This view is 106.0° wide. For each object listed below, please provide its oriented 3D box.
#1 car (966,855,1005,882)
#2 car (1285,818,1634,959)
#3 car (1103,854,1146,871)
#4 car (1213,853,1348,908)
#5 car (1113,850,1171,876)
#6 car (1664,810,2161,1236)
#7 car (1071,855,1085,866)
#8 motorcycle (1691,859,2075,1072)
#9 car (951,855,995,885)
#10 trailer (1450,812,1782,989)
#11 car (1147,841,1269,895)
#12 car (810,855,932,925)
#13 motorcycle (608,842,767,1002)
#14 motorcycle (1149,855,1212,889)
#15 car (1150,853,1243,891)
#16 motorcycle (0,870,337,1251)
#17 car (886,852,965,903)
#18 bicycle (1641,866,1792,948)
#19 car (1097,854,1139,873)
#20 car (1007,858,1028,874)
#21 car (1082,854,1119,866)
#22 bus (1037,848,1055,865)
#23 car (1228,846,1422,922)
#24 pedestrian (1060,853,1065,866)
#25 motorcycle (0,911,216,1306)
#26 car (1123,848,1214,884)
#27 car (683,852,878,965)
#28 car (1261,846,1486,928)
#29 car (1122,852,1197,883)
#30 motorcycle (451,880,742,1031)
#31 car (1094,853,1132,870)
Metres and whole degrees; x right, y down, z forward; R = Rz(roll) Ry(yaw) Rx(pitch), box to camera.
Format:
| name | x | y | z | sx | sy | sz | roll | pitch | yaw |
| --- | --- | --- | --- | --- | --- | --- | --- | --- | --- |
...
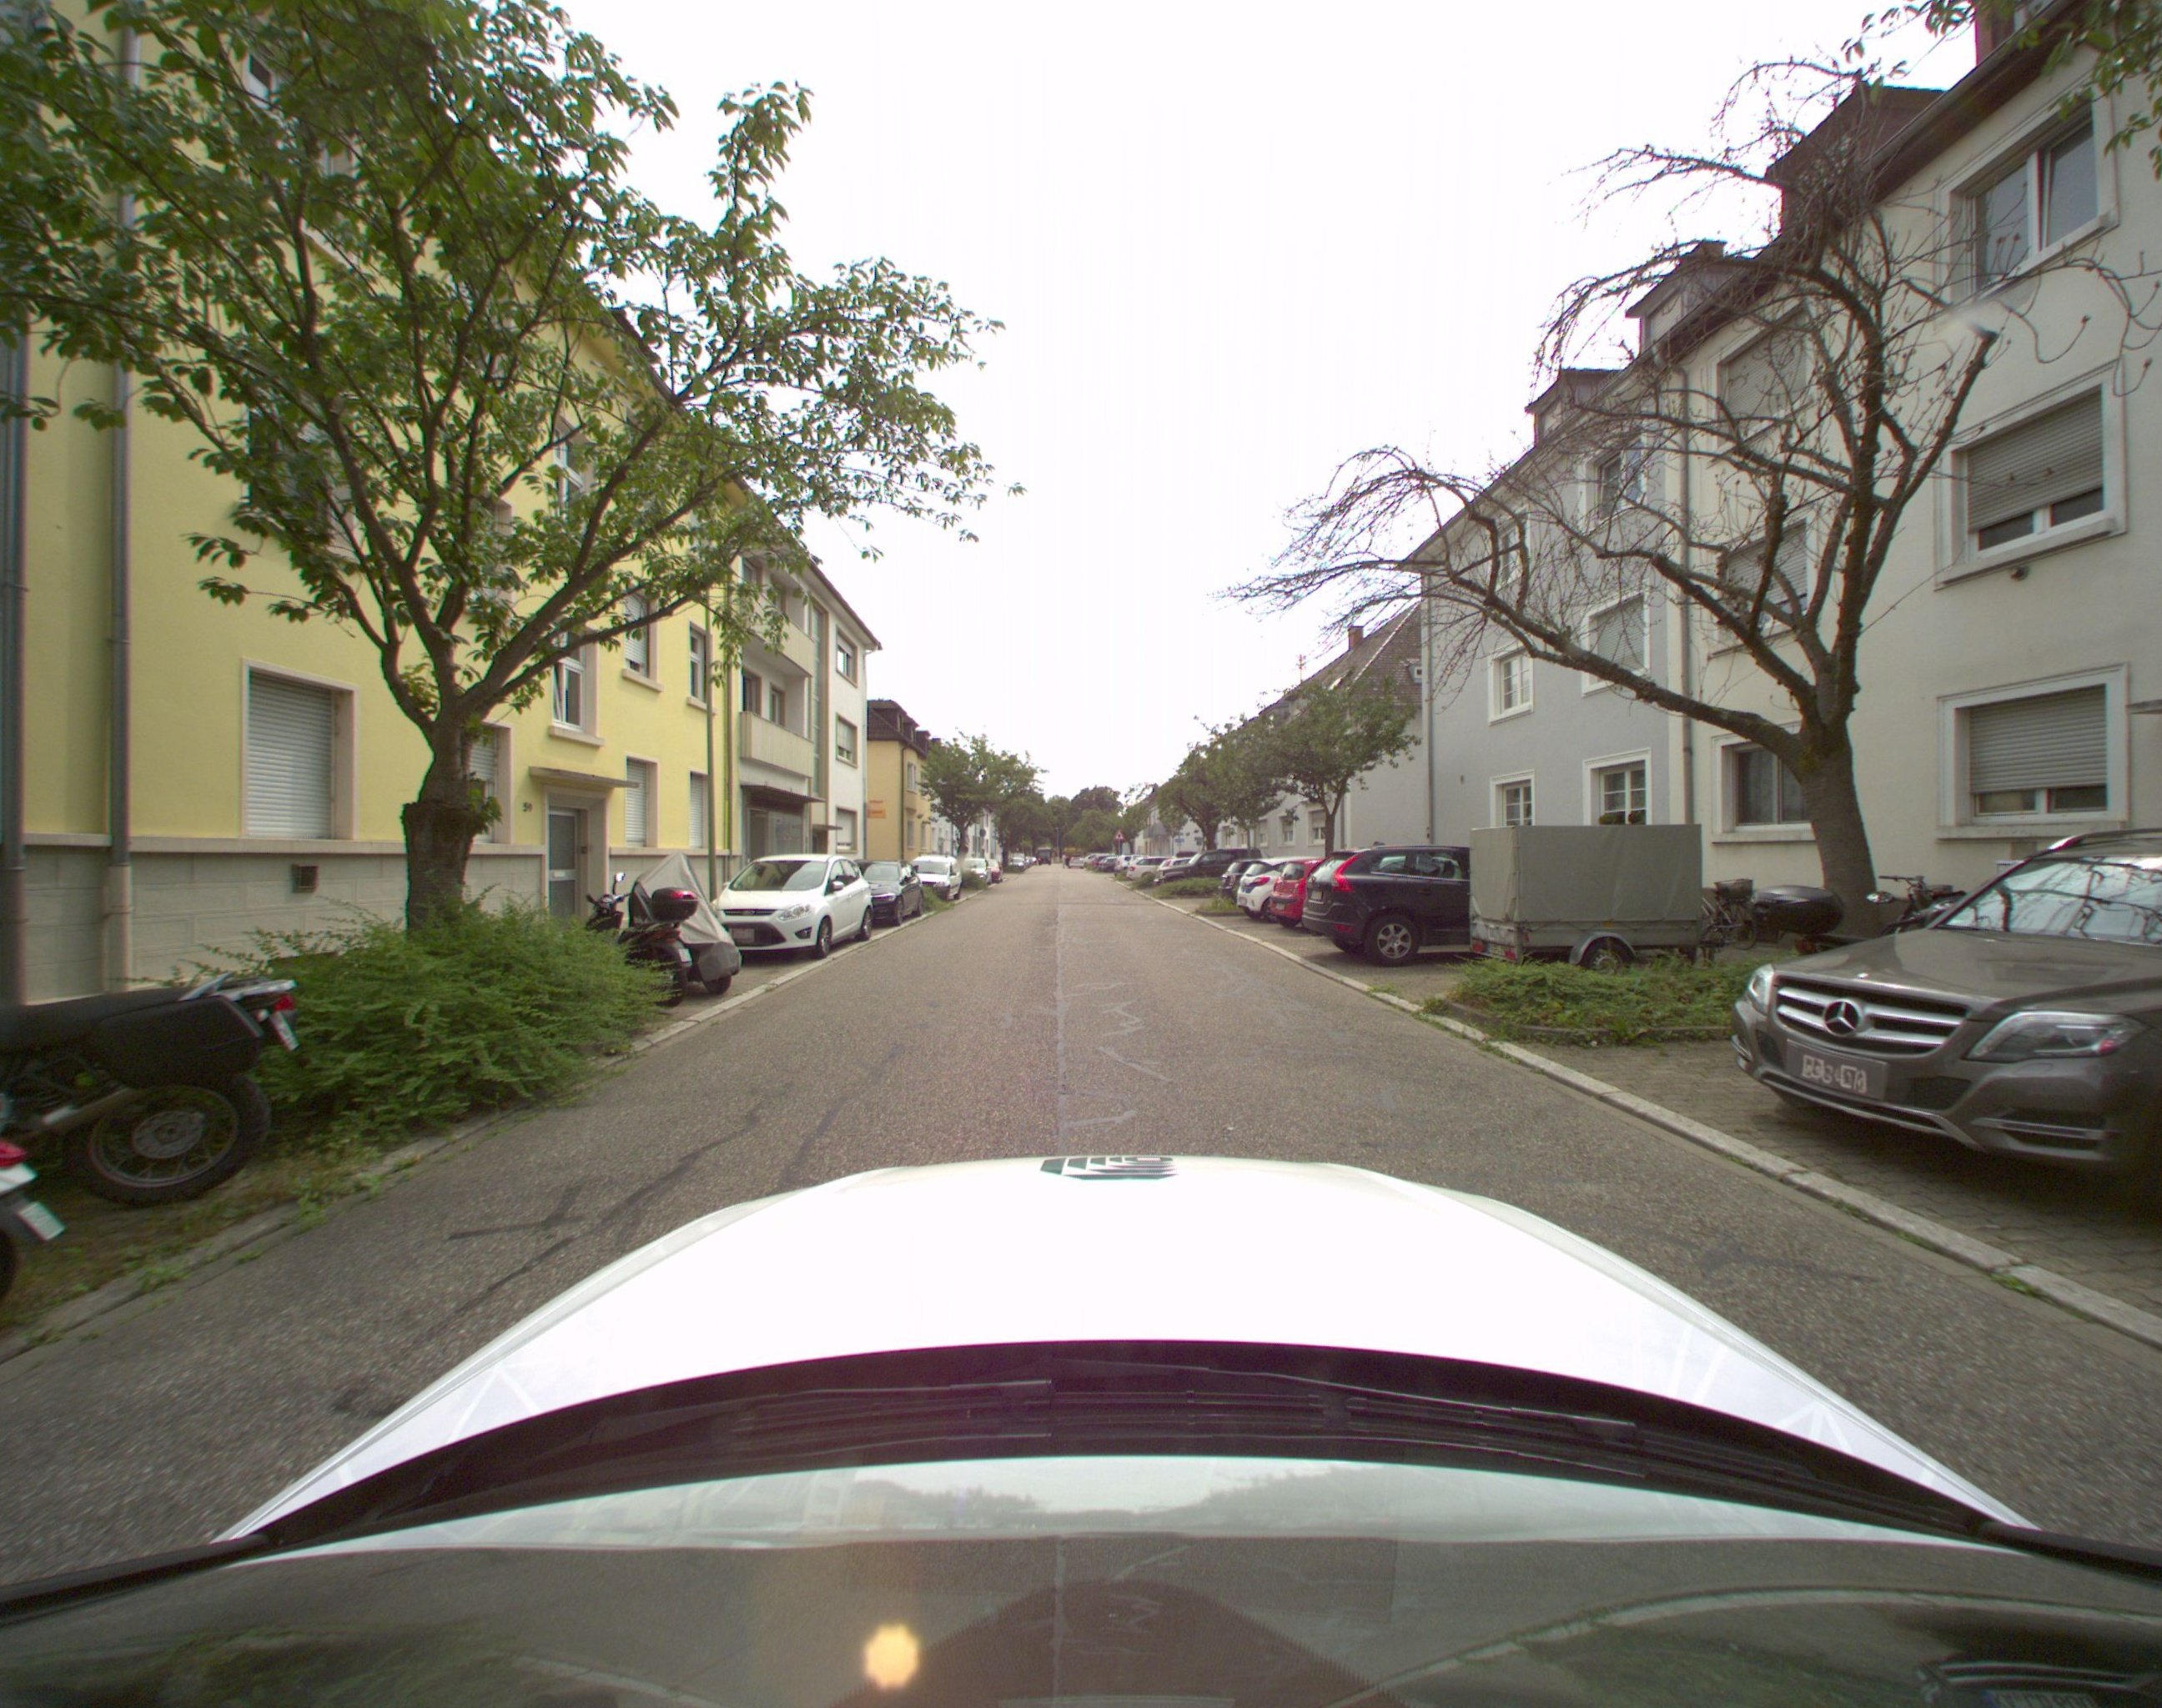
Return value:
| name | x | y | z | sx | sy | sz | roll | pitch | yaw |
| --- | --- | --- | --- | --- | --- | --- | --- | --- | --- |
| car | -5.699 | 0.861 | 49.040 | 1.872 | 1.486 | 4.509 | -2 | 0 | -2 |
| car | 5.362 | 0.472 | 11.968 | 4.201 | 1.736 | 1.903 | -2 | 0 | 0 |
| car | 3.881 | 0.786 | 73.105 | 3.737 | 1.365 | 1.772 | -2 | 0 | -1 |
| car | 5.907 | 0.768 | 24.430 | 3.535 | 1.453 | 1.807 | -2 | 0 | -3 |
| car | 4.251 | 0.656 | 57.379 | 3.912 | 1.633 | 1.867 | -2 | 0 | -1 |
| car | 5.764 | 0.568 | 4.213 | 4.207 | 1.598 | 1.901 | -2 | 0 | -5 |
| car | -0.407 | 0.815 | 104.944 | 1.682 | 1.354 | 3.825 | -2 | 0 | -1 |
| motorcycle | 5.790 | 0.754 | 5.945 | 2.221 | 1.409 | 0.714 | -1 | 0 | -5 |
| car | -5.735 | 0.846 | 43.715 | 1.766 | 1.392 | 4.273 | 5 | 0 | -1 |
| trailer | 6.203 | 0.517 | 9.663 | 2.950 | 1.831 | 1.401 | -2 | -1 | 1 |
| car | 4.979 | 0.541 | 32.277 | 4.510 | 1.858 | 1.793 | -2 | 0 | 0 |
| car | -4.920 | 0.805 | 19.775 | 1.785 | 1.492 | 4.809 | 0 | -1 | -1 |
| motorcycle | -4.762 | 0.720 | 9.751 | 2.443 | 1.676 | 0.944 | -1 | 0 | 45 |
| motorcycle | 4.502 | 0.802 | 36.962 | 2.697 | 1.464 | 1.029 | -1 | 0 | -6 |
| car | 4.960 | 0.748 | 35.234 | 3.620 | 1.454 | 1.769 | -2 | 0 | -6 |
| motorcycle | -4.701 | 0.858 | 3.391 | 2.245 | 1.481 | 0.591 | -2 | -1 | -29 |
| car | -5.325 | 0.768 | 28.407 | 1.913 | 1.581 | 4.379 | -2 | 0 | -1 |
| bicycle | 9.617 | 0.756 | 12.442 | 0.684 | 1.097 | 2.005 | -2 | 0 | 0 |
| car | 3.429 | 0.885 | 75.839 | 3.737 | 1.564 | 1.772 | -2 | 0 | -1 |
| car | -6.766 | 1.290 | 87.502 | 1.757 | 1.554 | 3.732 | -2 | 0 | 2 |
| car | 2.678 | 0.815 | 113.385 | 4.965 | 1.518 | 1.766 | -2 | 0 | -4 |
| bus | -6.139 | 0.520 | 144.699 | 2.996 | 2.761 | 8.917 | -2 | 0 | -2 |
| car | 5.681 | 0.670 | 19.206 | 3.980 | 1.530 | 1.765 | -2 | 0 | -5 |
| pedestrian | -2.319 | 0.696 | 104.080 | 0.520 | 1.704 | 0.445 | -2 | -1 | 2 |
| motorcycle | -4.128 | 0.846 | 2.485 | 1.917 | 1.192 | 0.591 | -2 | -1 | -29 |
| car | 4.632 | 0.639 | 43.573 | 4.601 | 1.664 | 1.891 | -2 | 0 | -1 |
| car | -4.760 | 0.776 | 13.598 | 1.752 | 1.556 | 4.252 | -1 | 0 | -2 |
| car | 5.943 | 0.646 | 16.839 | 3.980 | 1.410 | 1.765 | -2 | 0 | -5 |
| car | 4.382 | 0.756 | 46.012 | 3.977 | 1.508 | 1.711 | -2 | 0 | -2 |
| motorcycle | -4.768 | 0.981 | 8.123 | 2.442 | 1.311 | 0.643 | -2 | -1 | -2 |
| car | 3.294 | 0.778 | 83.410 | 3.737 | 1.564 | 1.772 | -2 | 0 | -1 |
